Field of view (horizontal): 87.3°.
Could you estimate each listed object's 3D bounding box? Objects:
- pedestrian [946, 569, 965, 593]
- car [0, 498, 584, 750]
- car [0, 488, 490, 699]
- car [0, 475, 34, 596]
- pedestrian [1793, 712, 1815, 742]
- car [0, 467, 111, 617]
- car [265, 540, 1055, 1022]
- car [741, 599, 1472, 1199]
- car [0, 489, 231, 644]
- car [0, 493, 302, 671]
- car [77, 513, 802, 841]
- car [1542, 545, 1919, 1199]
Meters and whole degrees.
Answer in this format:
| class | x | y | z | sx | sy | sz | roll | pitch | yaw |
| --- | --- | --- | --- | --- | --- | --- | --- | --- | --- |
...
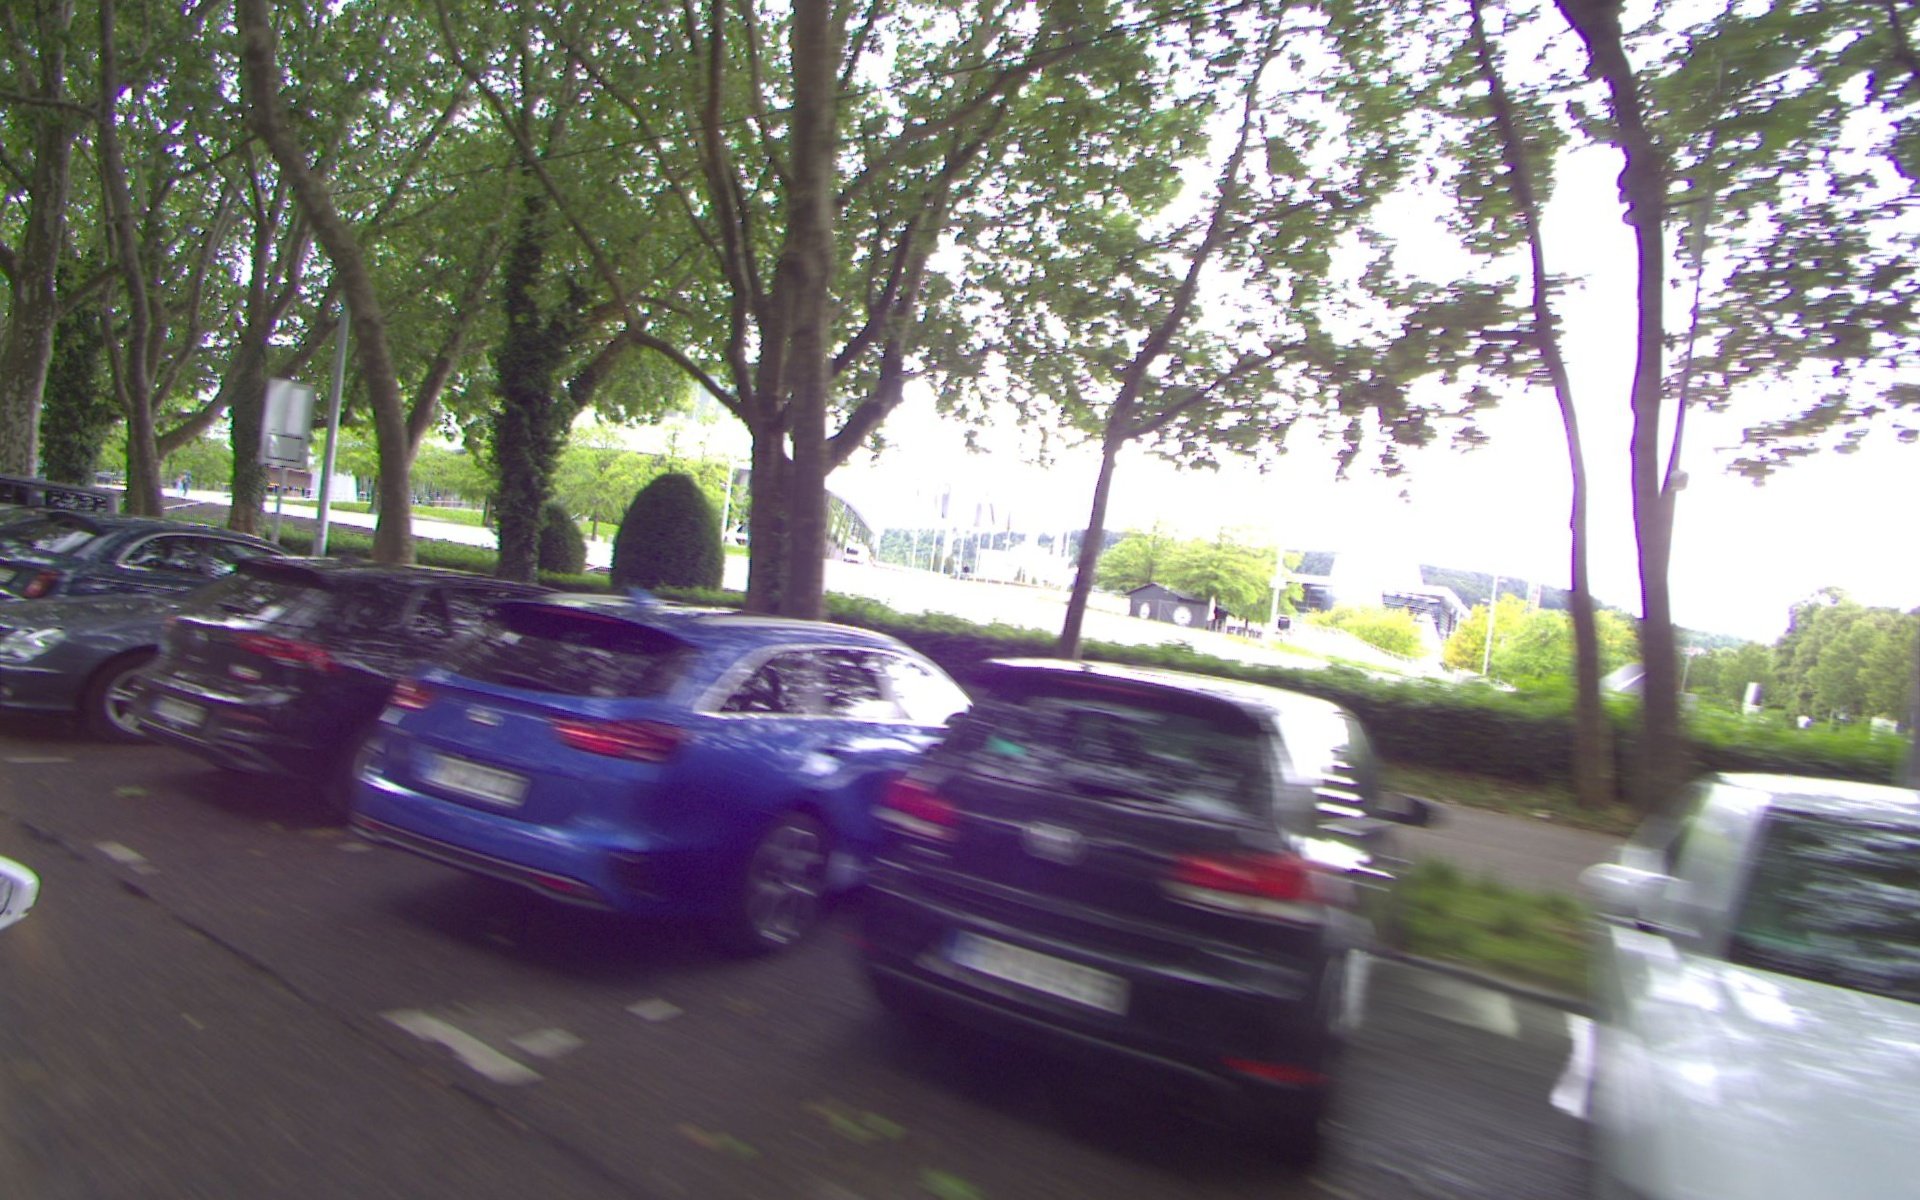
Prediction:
| class | x | y | z | sx | sy | sz | roll | pitch | yaw |
| --- | --- | --- | --- | --- | --- | --- | --- | --- | --- |
| pedestrian | -0.409 | -1.734 | 92.674 | 1.093 | 2.039 | 1.158 | 8 | 2 | 42 |
| car | -5.425 | 0.268 | 8.183 | 1.754 | 1.472 | 4.208 | 8 | -2 | 28 |
| car | -7.115 | 0.036 | 9.859 | 1.754 | 1.535 | 4.208 | 8 | -2 | 28 |
| car | -16.548 | -1.317 | 14.264 | 2.013 | 1.817 | 4.506 | 7 | -2 | 31 |
| pedestrian | 49.206 | 7.410 | 58.660 | 0.686 | 1.663 | 0.725 | 7 | -1 | 24 |
| car | -14.139 | -1.038 | 12.817 | 2.012 | 1.887 | 4.509 | 8 | -2 | 28 |
| car | -1.122 | 0.780 | 5.619 | 1.880 | 1.463 | 4.029 | 8 | -2 | 26 |
| car | 1.133 | 1.037 | 4.645 | 1.754 | 1.463 | 4.024 | 7 | -2 | 32 |
| car | -11.770 | -0.570 | 11.949 | 2.015 | 1.589 | 4.502 | 7 | -2 | 34 |
| car | -9.627 | -0.264 | 10.454 | 1.755 | 1.535 | 4.207 | 6 | -3 | 31 |
| car | -3.181 | 0.549 | 7.153 | 1.754 | 1.472 | 4.208 | 8 | -2 | 28 |
| car | 2.806 | 1.085 | 2.648 | 2.020 | 1.641 | 4.533 | 7 | -2 | 32 |
